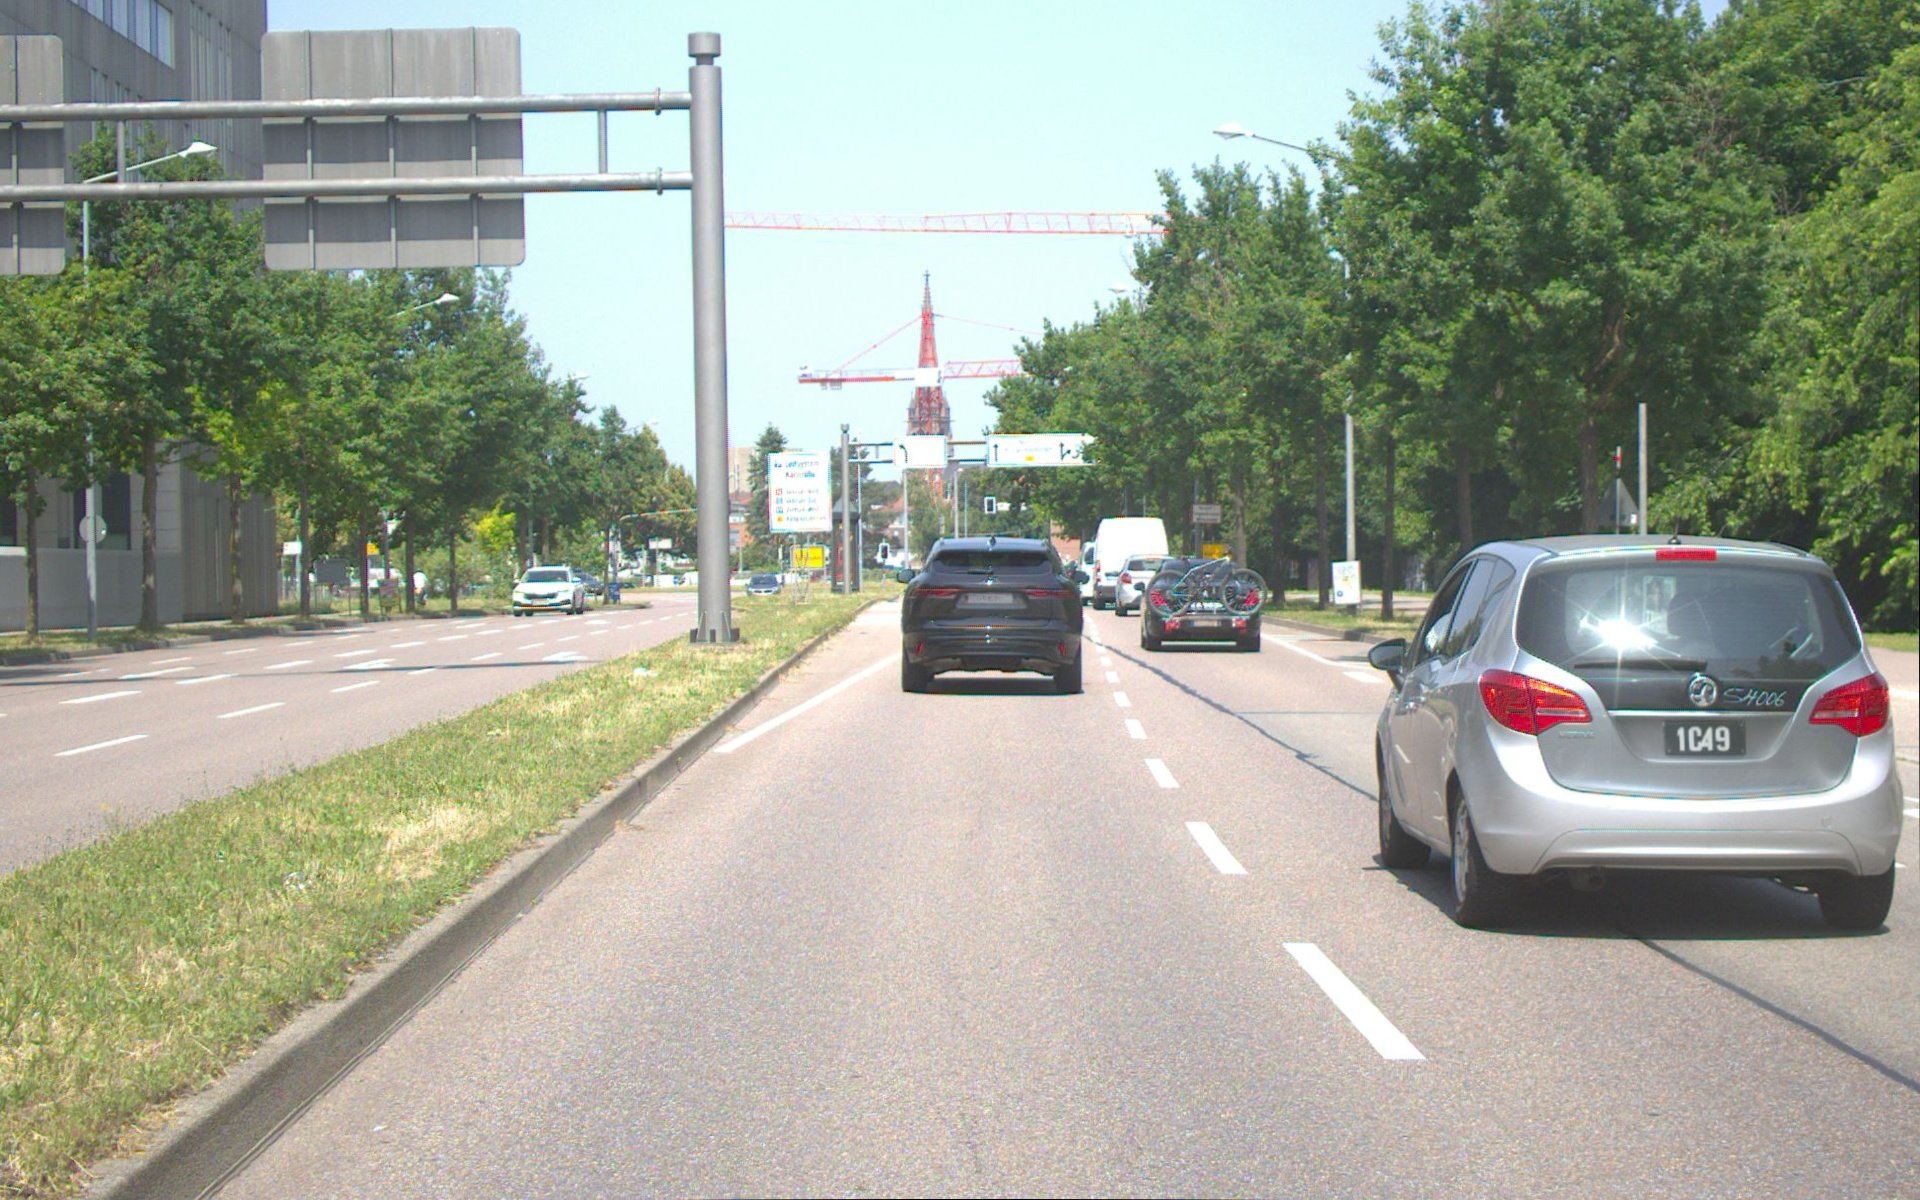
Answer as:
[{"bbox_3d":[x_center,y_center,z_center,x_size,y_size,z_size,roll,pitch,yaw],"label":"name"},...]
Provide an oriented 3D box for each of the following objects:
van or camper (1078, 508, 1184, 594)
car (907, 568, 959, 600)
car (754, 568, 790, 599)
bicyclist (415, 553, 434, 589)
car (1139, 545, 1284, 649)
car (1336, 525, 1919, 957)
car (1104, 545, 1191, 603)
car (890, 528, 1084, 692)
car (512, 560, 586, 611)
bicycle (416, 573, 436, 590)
[{"bbox_3d":[4.713,-1.350,95.525,2.493,2.283,4.921,-1,0,-2],"label":"van or camper"},{"bbox_3d":[-1.201,-0.720,150.741,1.993,1.316,4.001,-1,1,-5],"label":"car"},{"bbox_3d":[-9.710,-0.862,177.804,1.707,1.467,3.942,-2,1,-2],"label":"car"},{"bbox_3d":[-22.458,-1.228,144.291,0.623,1.484,0.757,-1,0,3],"label":"bicyclist"},{"bbox_3d":[3.845,-0.060,53.239,2.014,1.512,4.460,-1,0,2],"label":"car"},{"bbox_3d":[2.786,0.499,14.956,1.792,1.606,3.891,-1,1,-1],"label":"car"},{"bbox_3d":[4.555,-0.624,84.061,1.654,1.351,4.461,-1,0,-3],"label":"car"},{"bbox_3d":[0.317,0.074,37.555,1.998,1.684,4.033,0,1,1],"label":"car"},{"bbox_3d":[-12.277,-0.446,102.912,1.810,1.422,4.359,-2,1,-2],"label":"car"},{"bbox_3d":[-22.432,-0.764,144.395,0.481,0.713,1.850,-1,0,3],"label":"bicycle"}]
